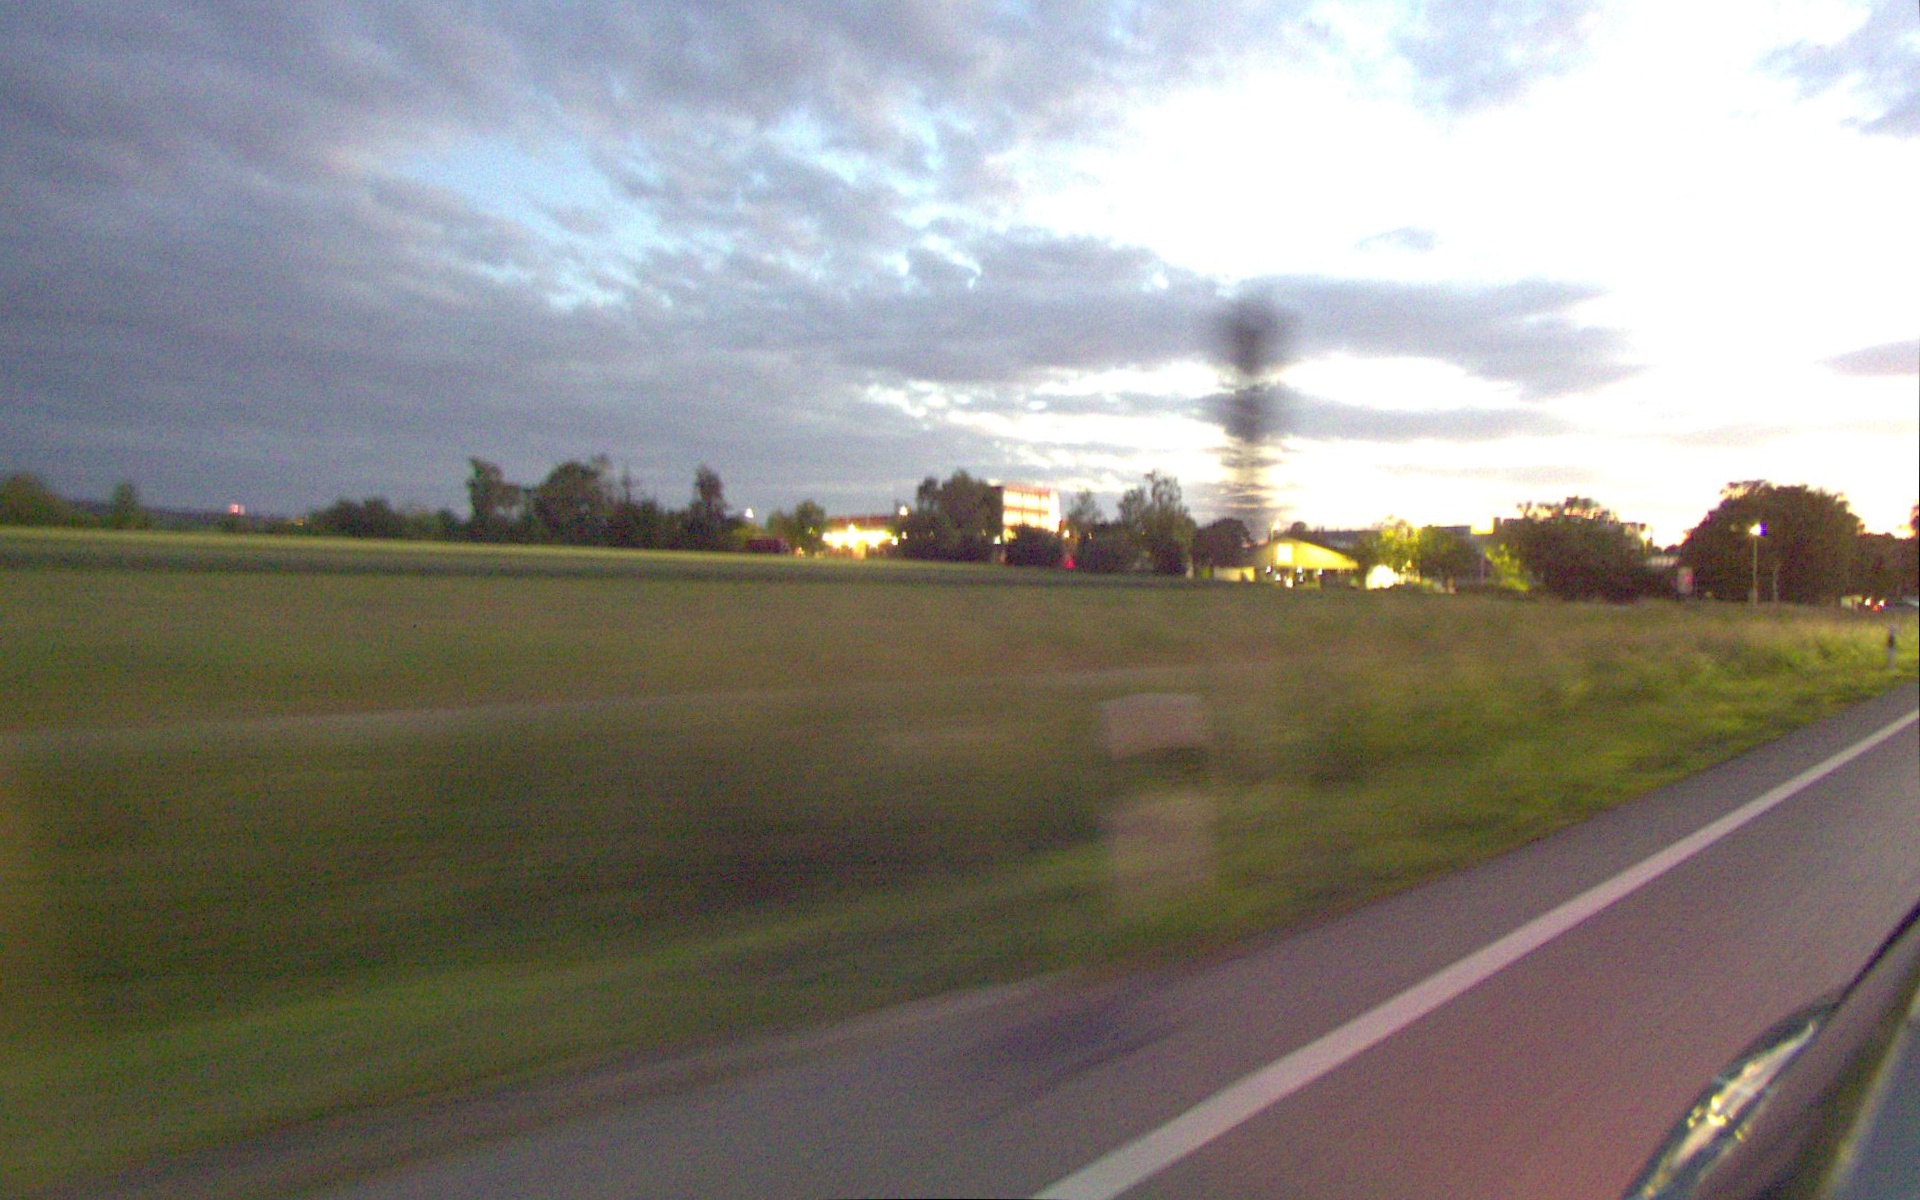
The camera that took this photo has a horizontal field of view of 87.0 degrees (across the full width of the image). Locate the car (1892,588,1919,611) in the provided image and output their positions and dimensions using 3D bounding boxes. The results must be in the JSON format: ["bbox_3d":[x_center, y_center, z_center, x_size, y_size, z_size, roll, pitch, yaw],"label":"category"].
[{"bbox_3d":[74.577,0.037,77.623,4.466,1.684,1.968,4,3,45],"label":"car"}]
